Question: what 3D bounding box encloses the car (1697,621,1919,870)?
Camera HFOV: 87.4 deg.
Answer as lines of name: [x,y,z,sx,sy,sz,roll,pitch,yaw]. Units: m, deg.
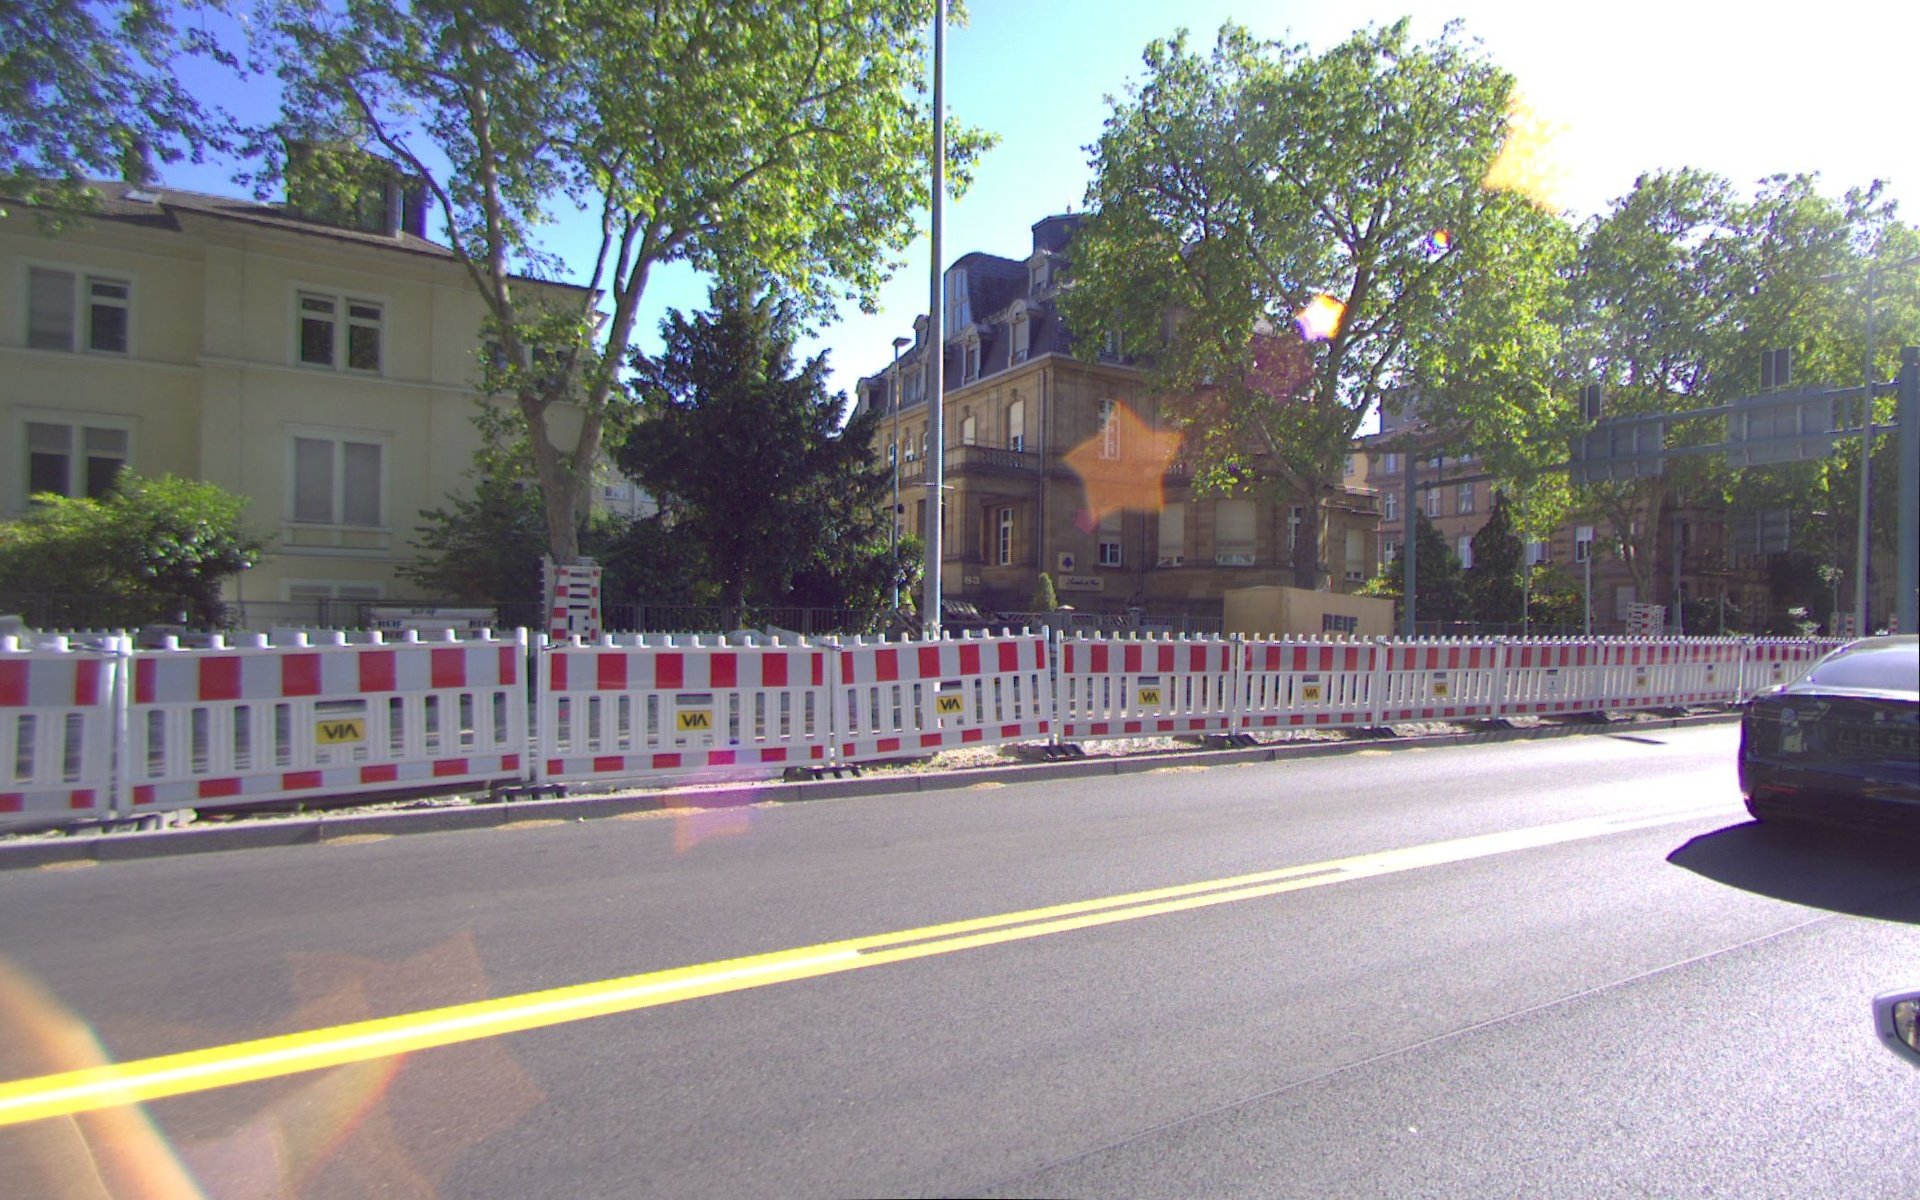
car: [7.598,0.926,7.307,4.571,1.431,1.916,1,1,-30]
